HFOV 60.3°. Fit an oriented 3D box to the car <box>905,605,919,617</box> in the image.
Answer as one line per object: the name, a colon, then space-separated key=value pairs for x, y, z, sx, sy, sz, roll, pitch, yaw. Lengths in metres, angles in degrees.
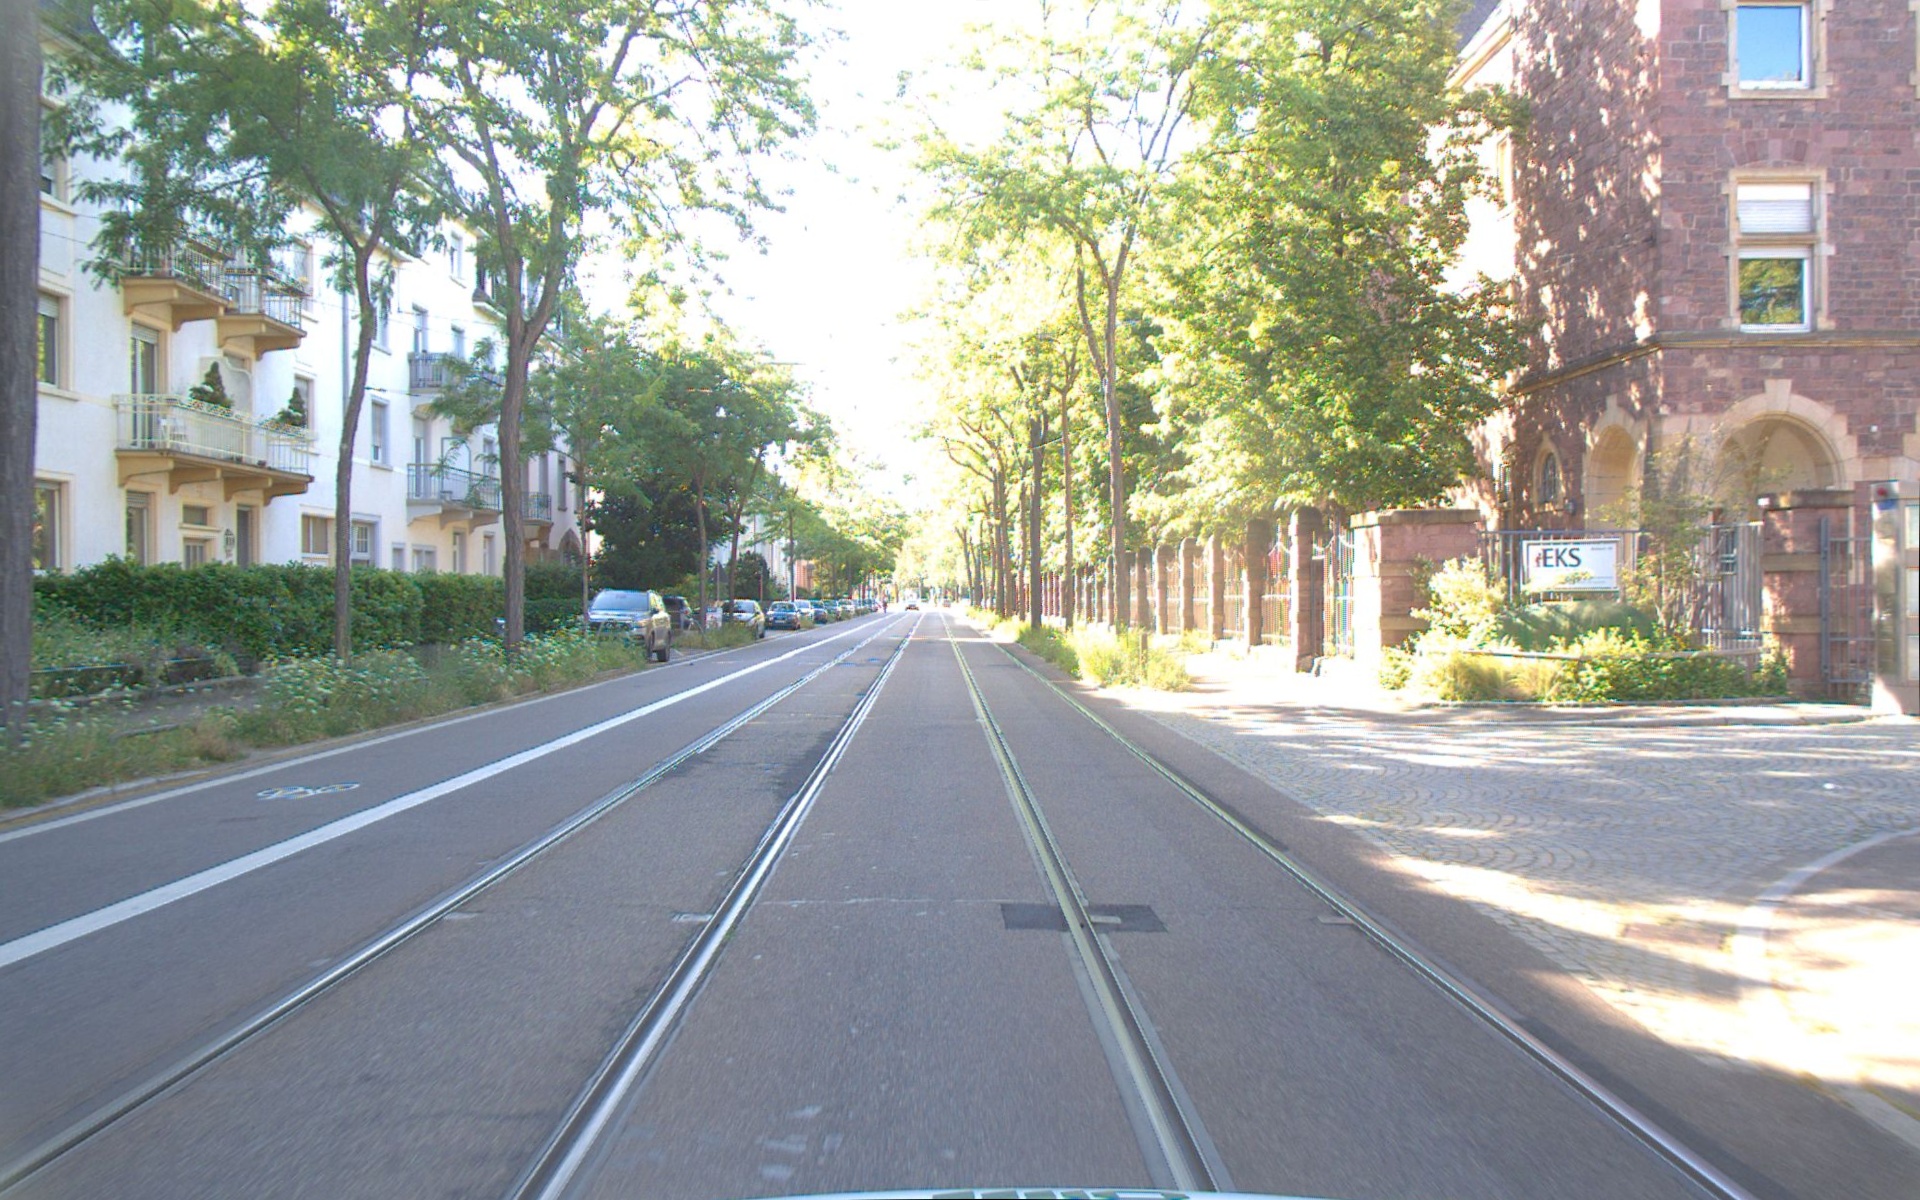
car: x=-6.029 y=1.403 z=208.118 sx=1.722 sy=1.464 sz=4.521 roll=0 pitch=0 yaw=-2

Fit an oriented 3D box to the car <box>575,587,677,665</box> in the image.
car: x=-8.398 y=0.626 z=41.952 sx=1.833 sy=1.855 sz=4.769 roll=1 pitch=0 yaw=-3

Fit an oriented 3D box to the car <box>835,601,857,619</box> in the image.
car: x=-10.180 y=0.845 z=147.944 sx=1.668 sy=1.511 sz=4.078 roll=2 pitch=0 yaw=-1

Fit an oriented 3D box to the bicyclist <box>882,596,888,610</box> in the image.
bicyclist: x=-8.925 y=0.382 z=196.223 sx=0.613 sy=1.667 sz=0.940 roll=-3 pitch=0 yaw=-1

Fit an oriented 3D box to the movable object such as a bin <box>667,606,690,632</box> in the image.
movable object such as a bin: x=-12.126 y=0.810 z=71.338 sx=0.857 sy=1.084 sz=0.814 roll=0 pitch=0 yaw=-1

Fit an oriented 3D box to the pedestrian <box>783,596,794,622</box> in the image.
pedestrian: x=-11.984 y=0.643 z=115.393 sx=0.677 sy=1.833 sz=0.813 roll=-1 pitch=0 yaw=-1

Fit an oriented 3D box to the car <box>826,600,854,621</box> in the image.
car: x=-8.821 y=0.773 z=121.864 sx=1.780 sy=1.511 sz=4.205 roll=1 pitch=0 yaw=-1

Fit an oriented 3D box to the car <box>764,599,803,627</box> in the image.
car: x=-9.224 y=0.661 z=86.754 sx=1.671 sy=1.431 sz=4.332 roll=1 pitch=0 yaw=-2

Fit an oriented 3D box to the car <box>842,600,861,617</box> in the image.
car: x=-10.212 y=0.804 z=155.643 sx=1.653 sy=1.511 sz=3.758 roll=2 pitch=0 yaw=-2

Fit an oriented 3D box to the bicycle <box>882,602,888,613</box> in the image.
bicycle: x=-8.903 y=0.878 z=196.299 sx=0.614 sy=1.198 sz=1.913 roll=-3 pitch=0 yaw=-1

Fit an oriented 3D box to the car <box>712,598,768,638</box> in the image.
car: x=-8.995 y=0.710 z=67.906 sx=1.740 sy=1.568 sz=4.485 roll=1 pitch=0 yaw=-1

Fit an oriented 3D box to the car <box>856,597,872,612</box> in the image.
car: x=-9.643 y=0.442 z=165.774 sx=1.529 sy=1.482 sz=3.928 roll=2 pitch=0 yaw=-3

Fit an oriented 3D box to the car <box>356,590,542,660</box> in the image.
car: x=-13.388 y=0.637 z=43.501 sx=4.212 sy=1.690 sz=1.953 roll=1 pitch=0 yaw=0

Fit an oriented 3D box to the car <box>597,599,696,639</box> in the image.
car: x=-14.037 y=0.848 z=74.245 sx=4.082 sy=1.688 sz=1.982 roll=1 pitch=0 yaw=-3

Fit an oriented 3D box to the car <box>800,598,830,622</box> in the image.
car: x=-9.496 y=0.653 z=108.780 sx=1.722 sy=1.537 sz=4.437 roll=1 pitch=0 yaw=-2

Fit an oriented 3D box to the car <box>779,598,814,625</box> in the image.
car: x=-9.707 y=0.649 z=98.529 sx=1.780 sy=1.537 sz=4.369 roll=1 pitch=0 yaw=-2
